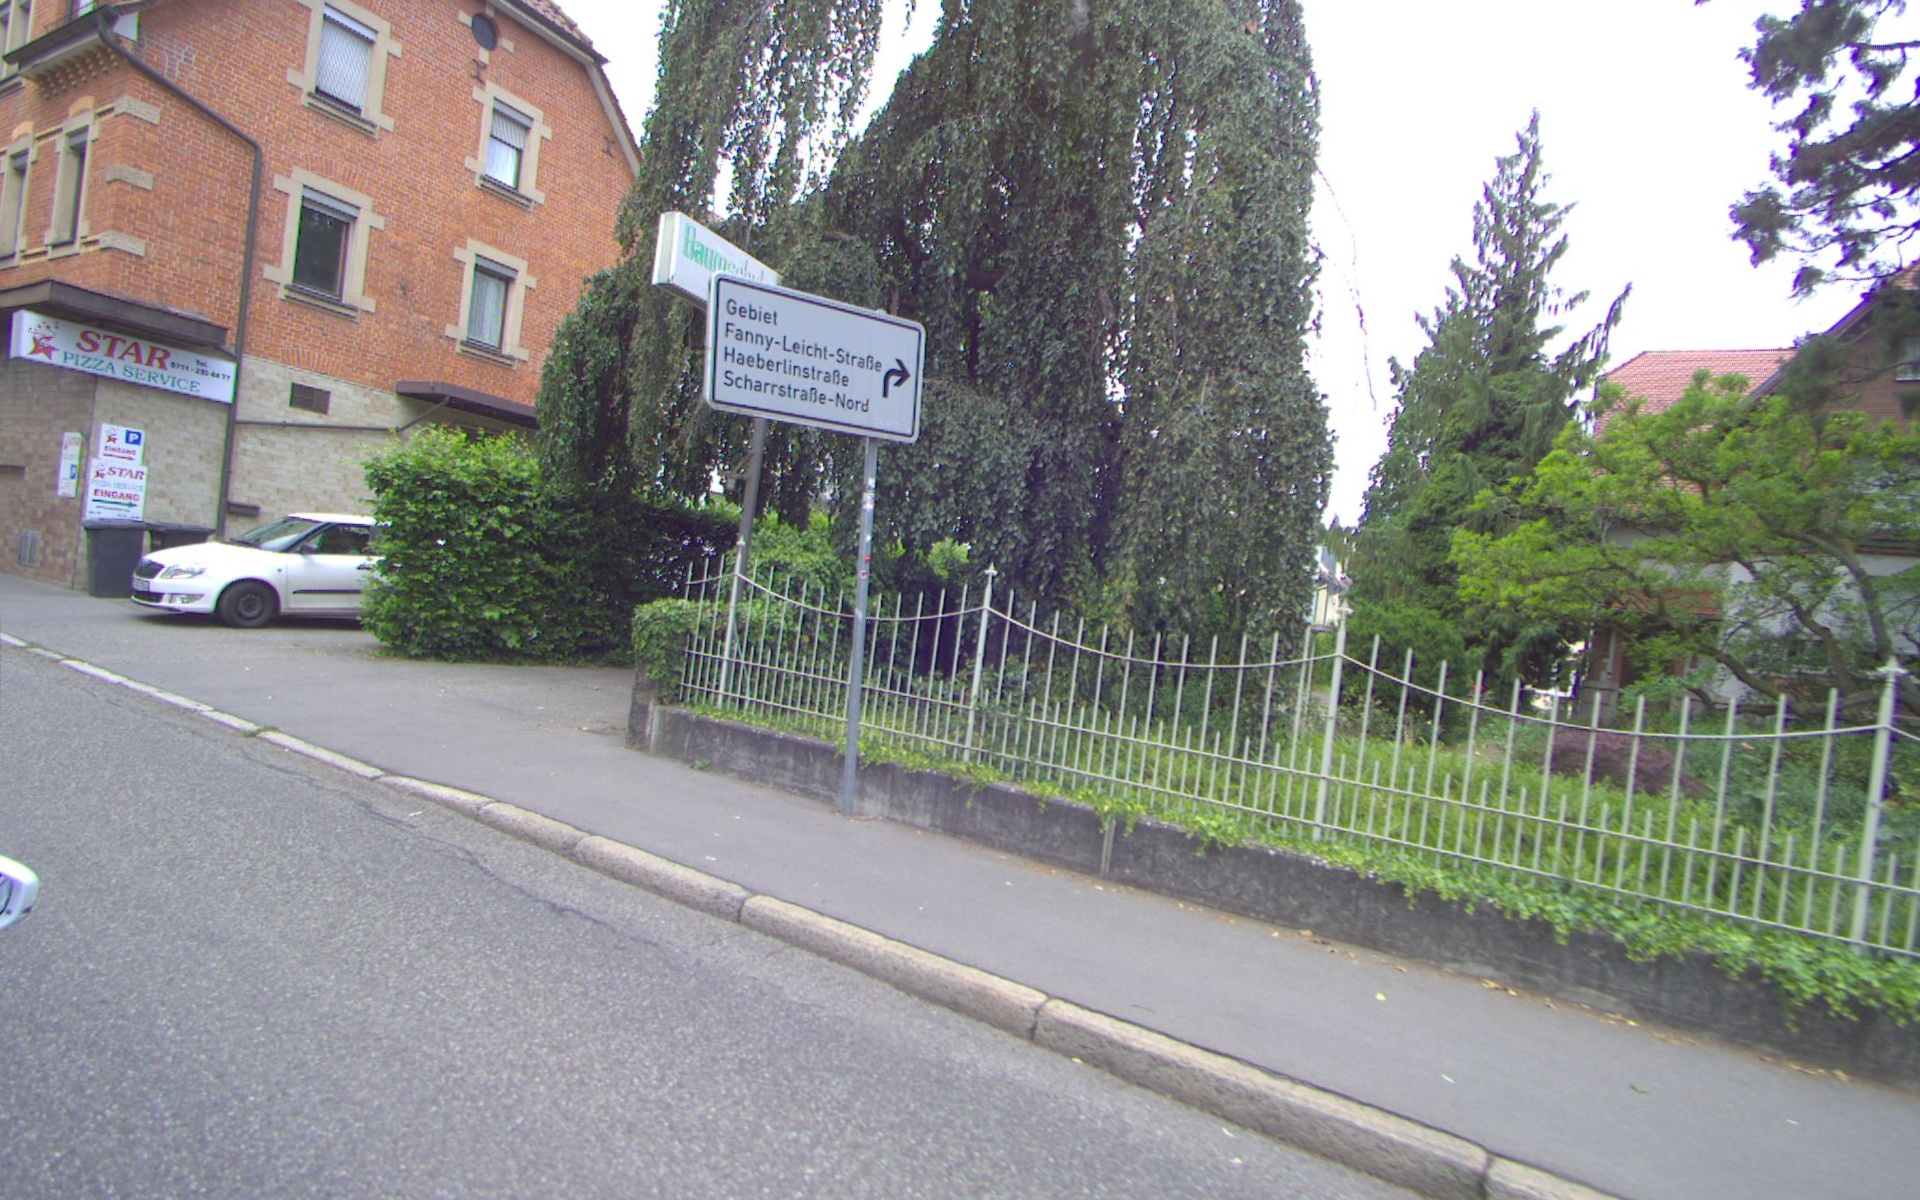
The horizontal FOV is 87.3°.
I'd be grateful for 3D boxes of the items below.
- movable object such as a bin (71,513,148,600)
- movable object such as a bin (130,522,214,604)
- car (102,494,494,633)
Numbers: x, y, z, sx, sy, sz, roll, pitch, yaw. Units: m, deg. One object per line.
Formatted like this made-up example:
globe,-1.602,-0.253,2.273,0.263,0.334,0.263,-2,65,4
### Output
movable object such as a bin,-11.689,-0.592,13.830,0.612,1.115,0.606,7,2,32
movable object such as a bin,-11.331,-0.529,14.471,0.711,1.073,0.698,7,2,32
car,-8.558,-0.425,13.349,1.575,1.491,4.025,7,4,33
